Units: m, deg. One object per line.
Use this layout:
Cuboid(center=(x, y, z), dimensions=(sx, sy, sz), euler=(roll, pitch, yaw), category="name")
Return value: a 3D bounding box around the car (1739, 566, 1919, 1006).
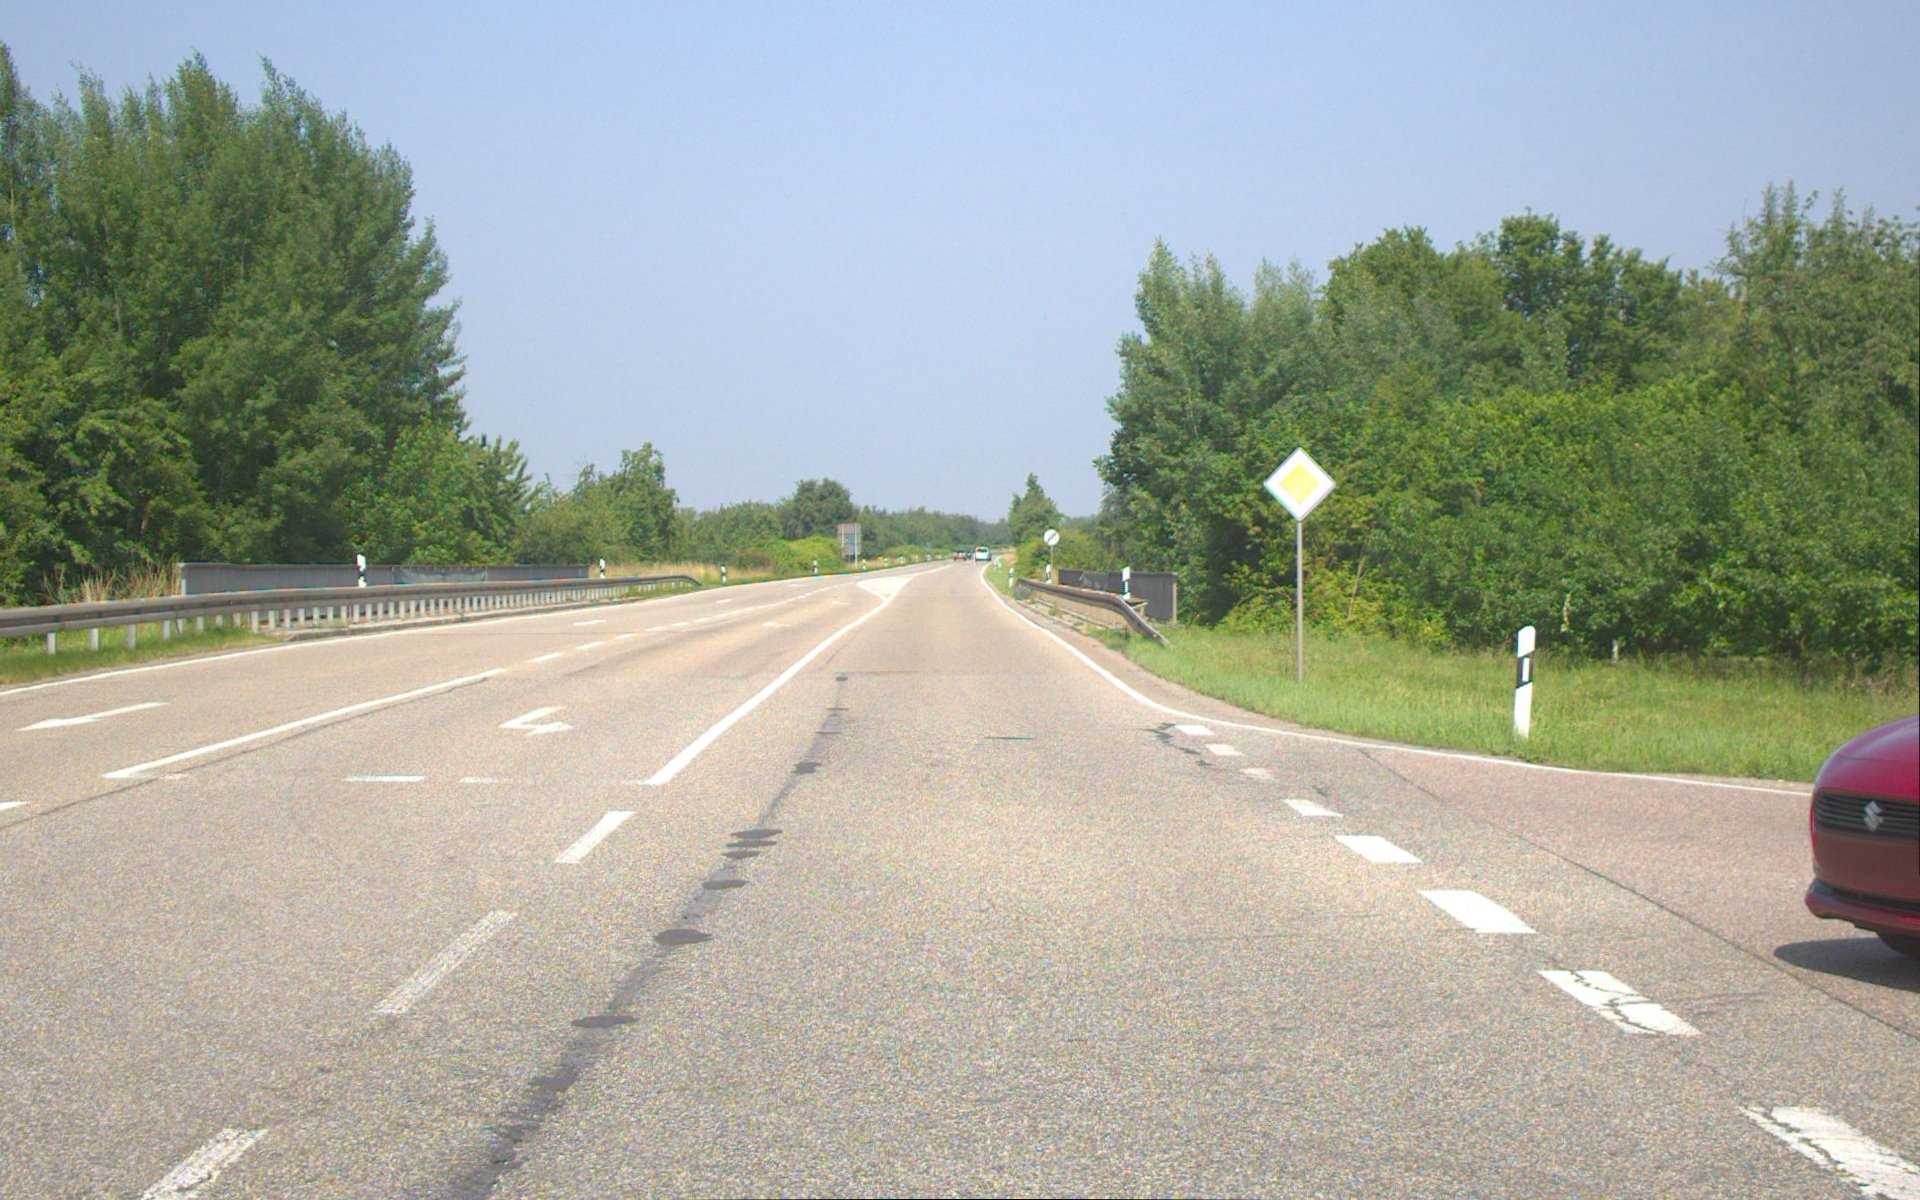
Cuboid(center=(4.962, 0.657, 12.624), dimensions=(3.739, 1.487, 1.672), euler=(1, 1, -18), category="car")
